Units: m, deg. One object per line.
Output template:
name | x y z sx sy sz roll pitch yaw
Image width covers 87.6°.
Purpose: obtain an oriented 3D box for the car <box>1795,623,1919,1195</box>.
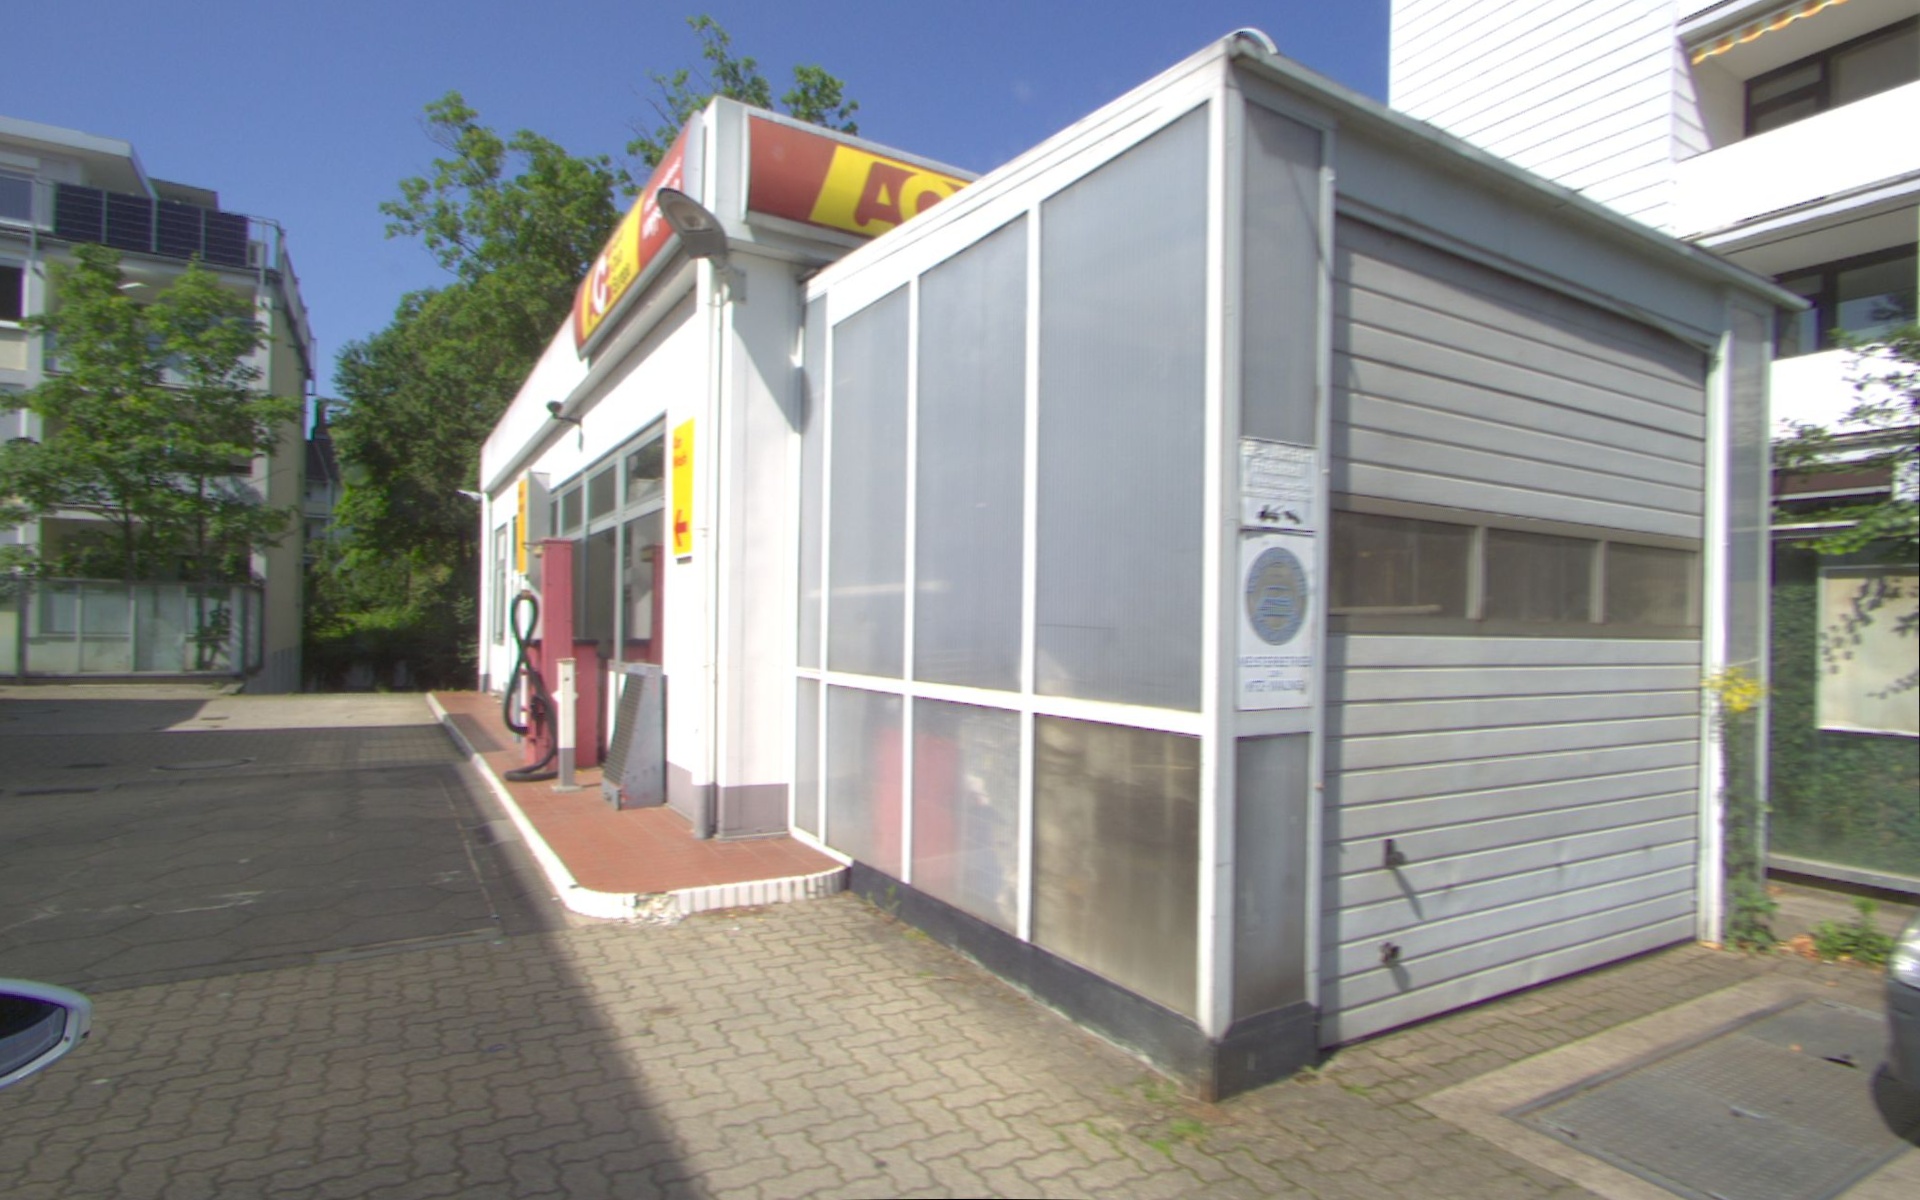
car | 4.216 0.854 1.936 1.668 1.637 3.646 2 -3 -28
